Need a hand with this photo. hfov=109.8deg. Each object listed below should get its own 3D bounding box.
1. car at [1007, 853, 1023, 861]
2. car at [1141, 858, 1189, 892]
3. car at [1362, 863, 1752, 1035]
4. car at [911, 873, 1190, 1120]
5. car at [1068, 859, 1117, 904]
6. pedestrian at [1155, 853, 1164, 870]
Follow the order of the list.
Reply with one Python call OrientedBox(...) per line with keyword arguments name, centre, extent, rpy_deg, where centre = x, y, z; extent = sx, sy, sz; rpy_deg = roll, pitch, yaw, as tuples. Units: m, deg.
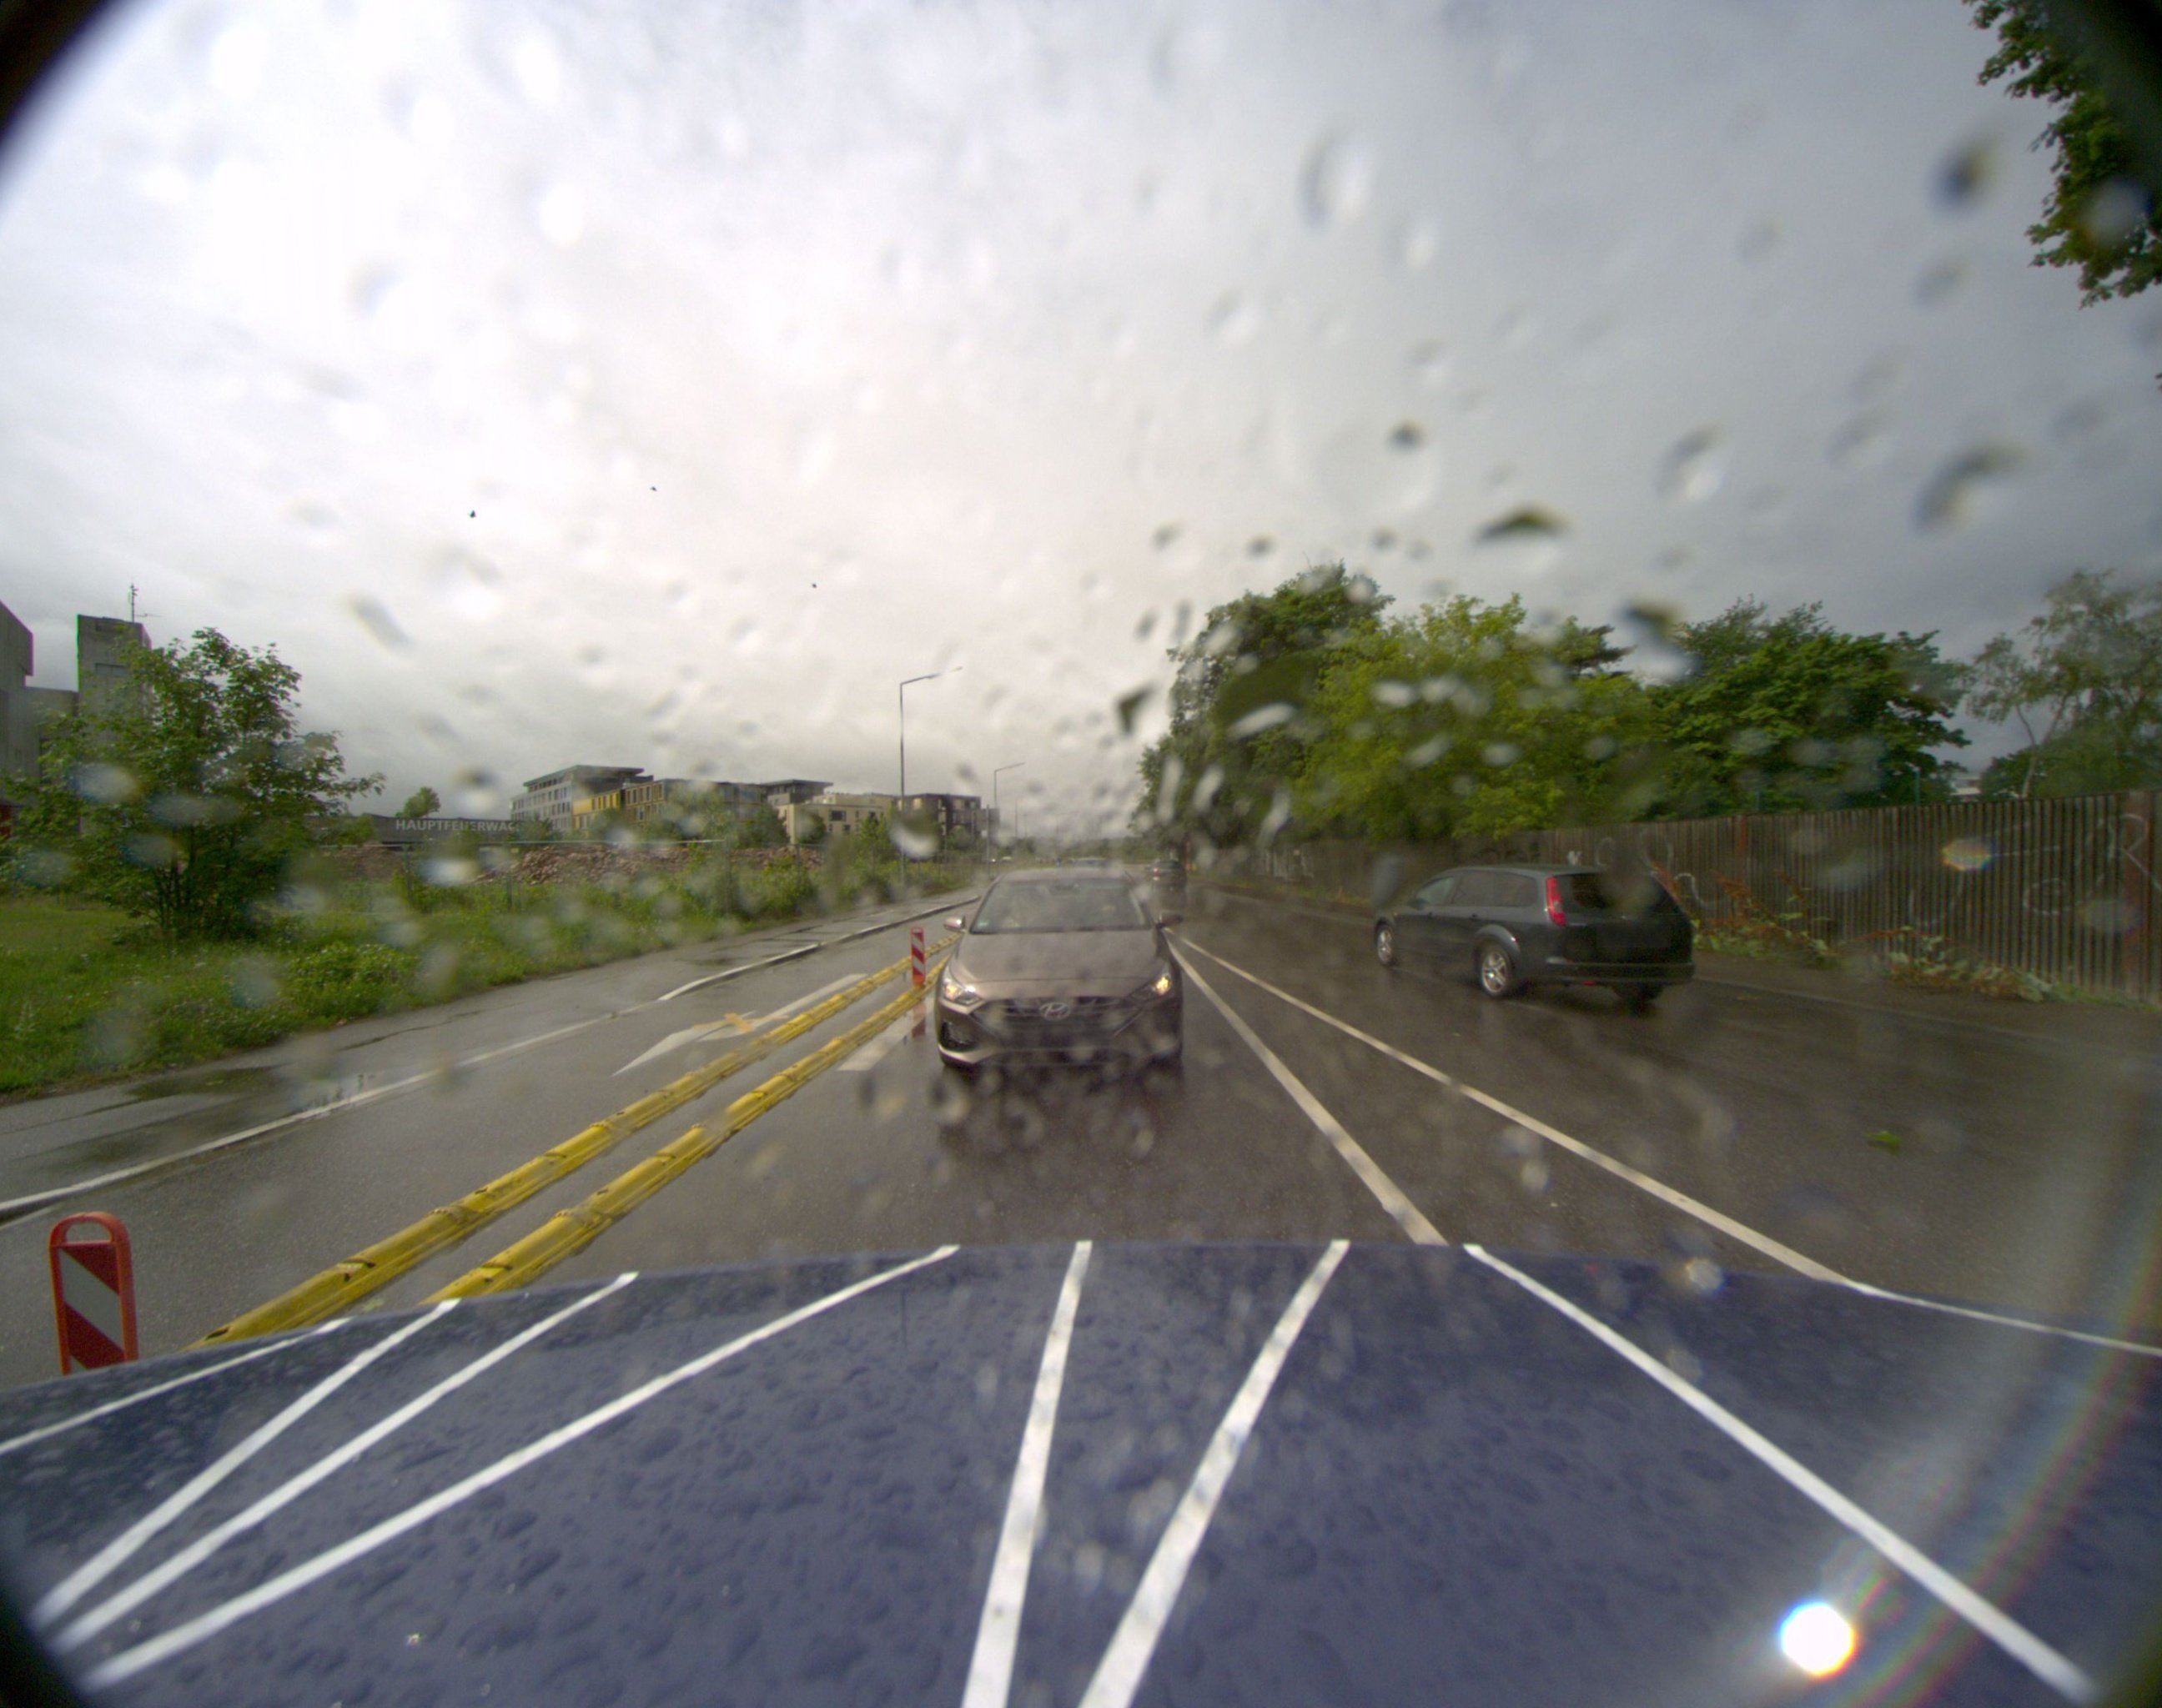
OrientedBox(name="car", centre=(-17.902, 0.746, 205.887), extent=(4.008, 2.002, 1.994), rpy_deg=(-1, 0, -43))
OrientedBox(name="car", centre=(4.175, 0.989, 38.259), extent=(1.785, 1.543, 4.425), rpy_deg=(2, 0, -1))
OrientedBox(name="car", centre=(5.222, 0.906, 9.165), extent=(1.880, 1.474, 4.176), rpy_deg=(0, 1, -4))
OrientedBox(name="car", centre=(-0.225, 0.939, 6.666), extent=(1.724, 1.423, 3.818), rpy_deg=(-1, 0, -1))
OrientedBox(name="car", centre=(0.415, 0.990, 28.845), extent=(1.734, 1.539, 3.771), rpy_deg=(-1, 0, 0))
OrientedBox(name="pedestrian", centre=(8.268, 0.765, 79.916), extent=(0.841, 1.759, 0.644), rpy_deg=(0, 1, 1))
